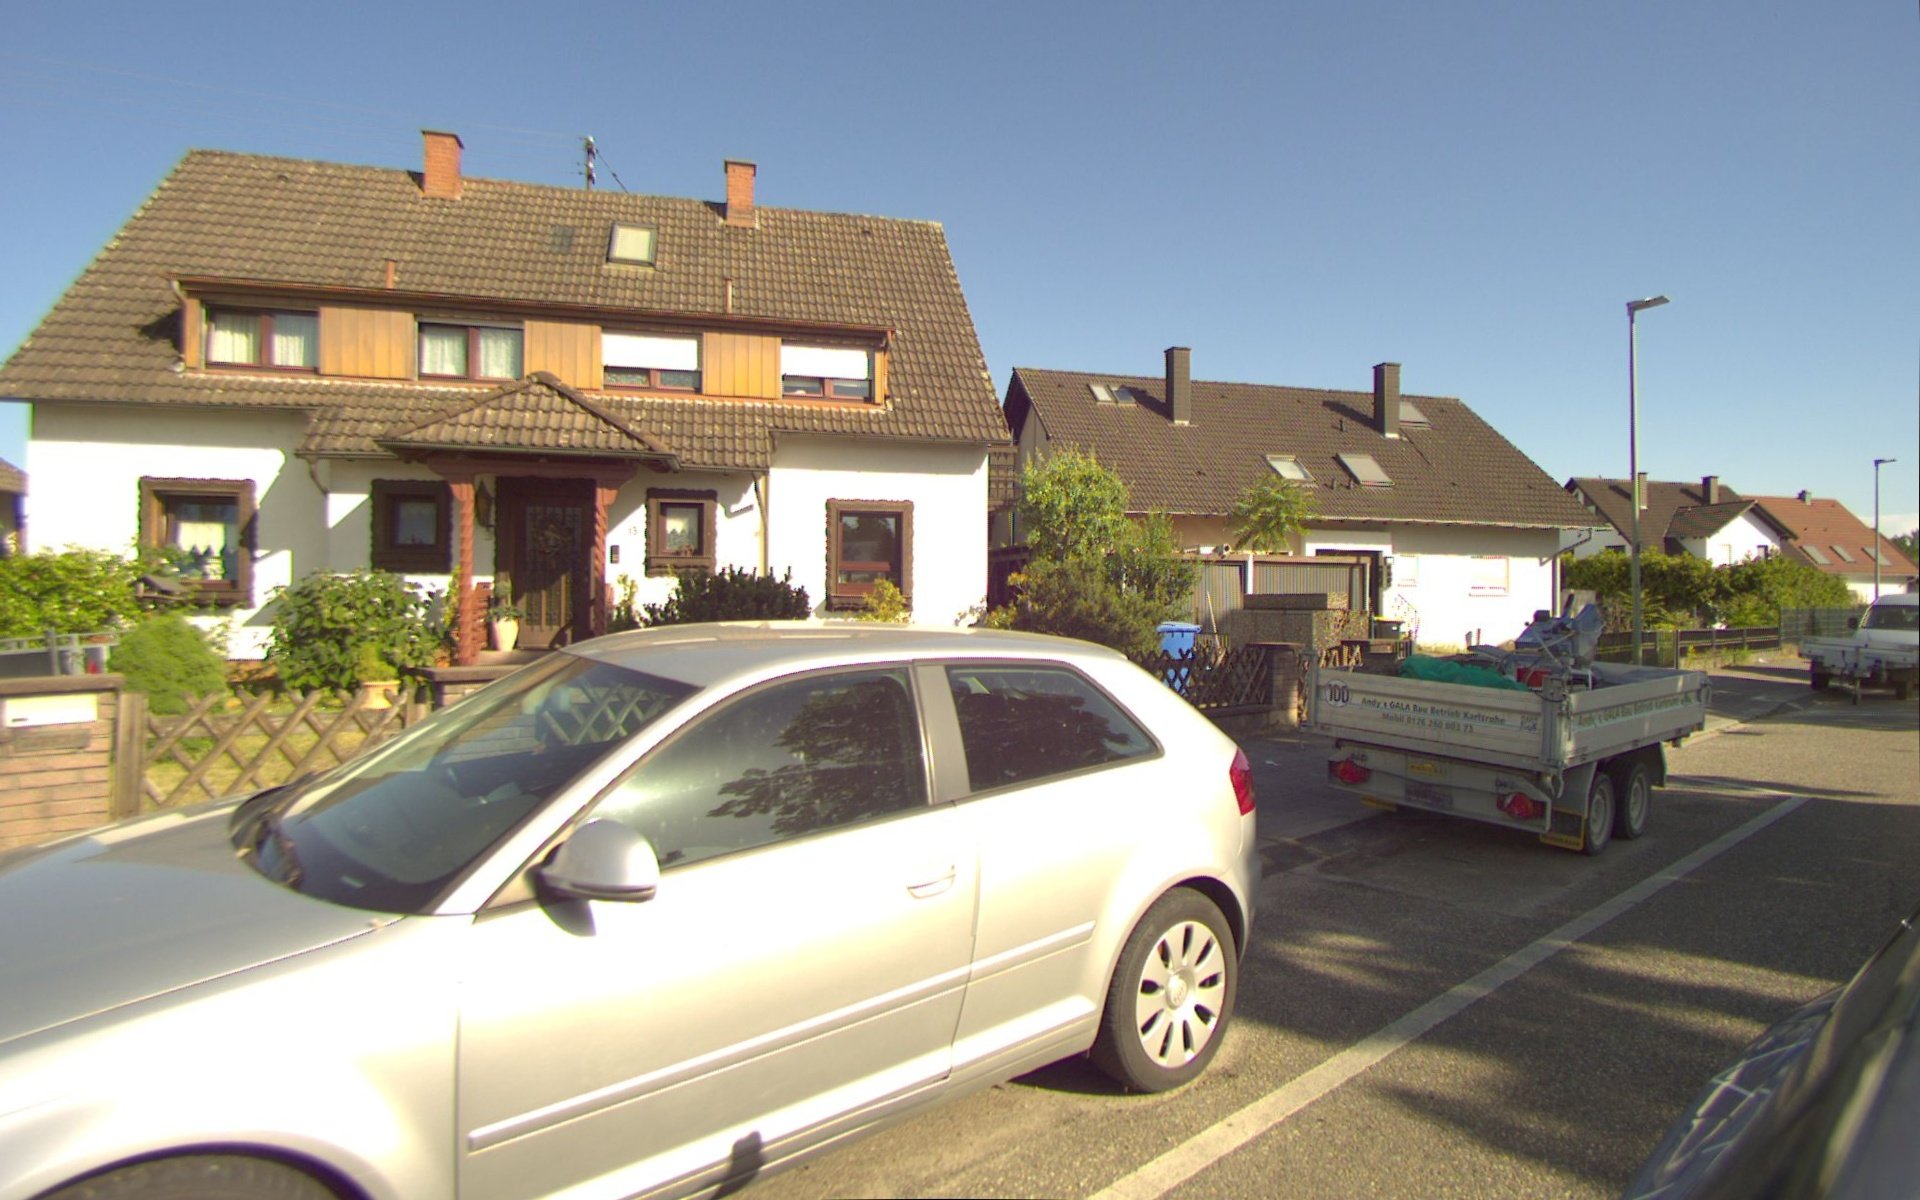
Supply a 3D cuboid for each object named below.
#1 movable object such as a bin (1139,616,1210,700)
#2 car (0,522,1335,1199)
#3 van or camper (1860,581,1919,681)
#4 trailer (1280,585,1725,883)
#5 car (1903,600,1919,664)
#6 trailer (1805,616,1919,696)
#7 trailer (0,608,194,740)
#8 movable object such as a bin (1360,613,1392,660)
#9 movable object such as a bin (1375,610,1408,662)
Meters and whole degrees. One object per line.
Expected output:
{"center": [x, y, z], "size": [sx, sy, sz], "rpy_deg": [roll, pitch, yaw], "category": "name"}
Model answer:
{"center": [2.803, 0.743, 13.251], "size": [0.737, 1.066, 0.526], "rpy_deg": [0, 0, -15], "category": "movable object such as a bin"}
{"center": [-0.832, 0.682, 2.861], "size": [3.968, 1.562, 1.678], "rpy_deg": [0, -1, -37], "category": "car"}
{"center": [19.876, 0.589, 20.670], "size": [4.106, 1.915, 1.721], "rpy_deg": [0, -1, -41], "category": "van or camper"}
{"center": [3.795, 0.704, 6.936], "size": [3.141, 1.558, 1.630], "rpy_deg": [0, 0, -40], "category": "trailer"}
{"center": [24.378, 0.757, 24.703], "size": [3.503, 1.524, 1.721], "rpy_deg": [0, -1, -43], "category": "car"}
{"center": [16.147, 0.929, 17.787], "size": [3.092, 1.233, 1.629], "rpy_deg": [0, 0, -43], "category": "trailer"}
{"center": [-8.705, 0.627, 9.261], "size": [2.142, 1.085, 1.656], "rpy_deg": [0, 0, -3], "category": "trailer"}
{"center": [9.382, 0.818, 22.829], "size": [0.448, 1.039, 0.506], "rpy_deg": [0, -1, -13], "category": "movable object such as a bin"}
{"center": [9.508, 0.782, 22.288], "size": [0.448, 1.110, 0.506], "rpy_deg": [0, -1, -13], "category": "movable object such as a bin"}
